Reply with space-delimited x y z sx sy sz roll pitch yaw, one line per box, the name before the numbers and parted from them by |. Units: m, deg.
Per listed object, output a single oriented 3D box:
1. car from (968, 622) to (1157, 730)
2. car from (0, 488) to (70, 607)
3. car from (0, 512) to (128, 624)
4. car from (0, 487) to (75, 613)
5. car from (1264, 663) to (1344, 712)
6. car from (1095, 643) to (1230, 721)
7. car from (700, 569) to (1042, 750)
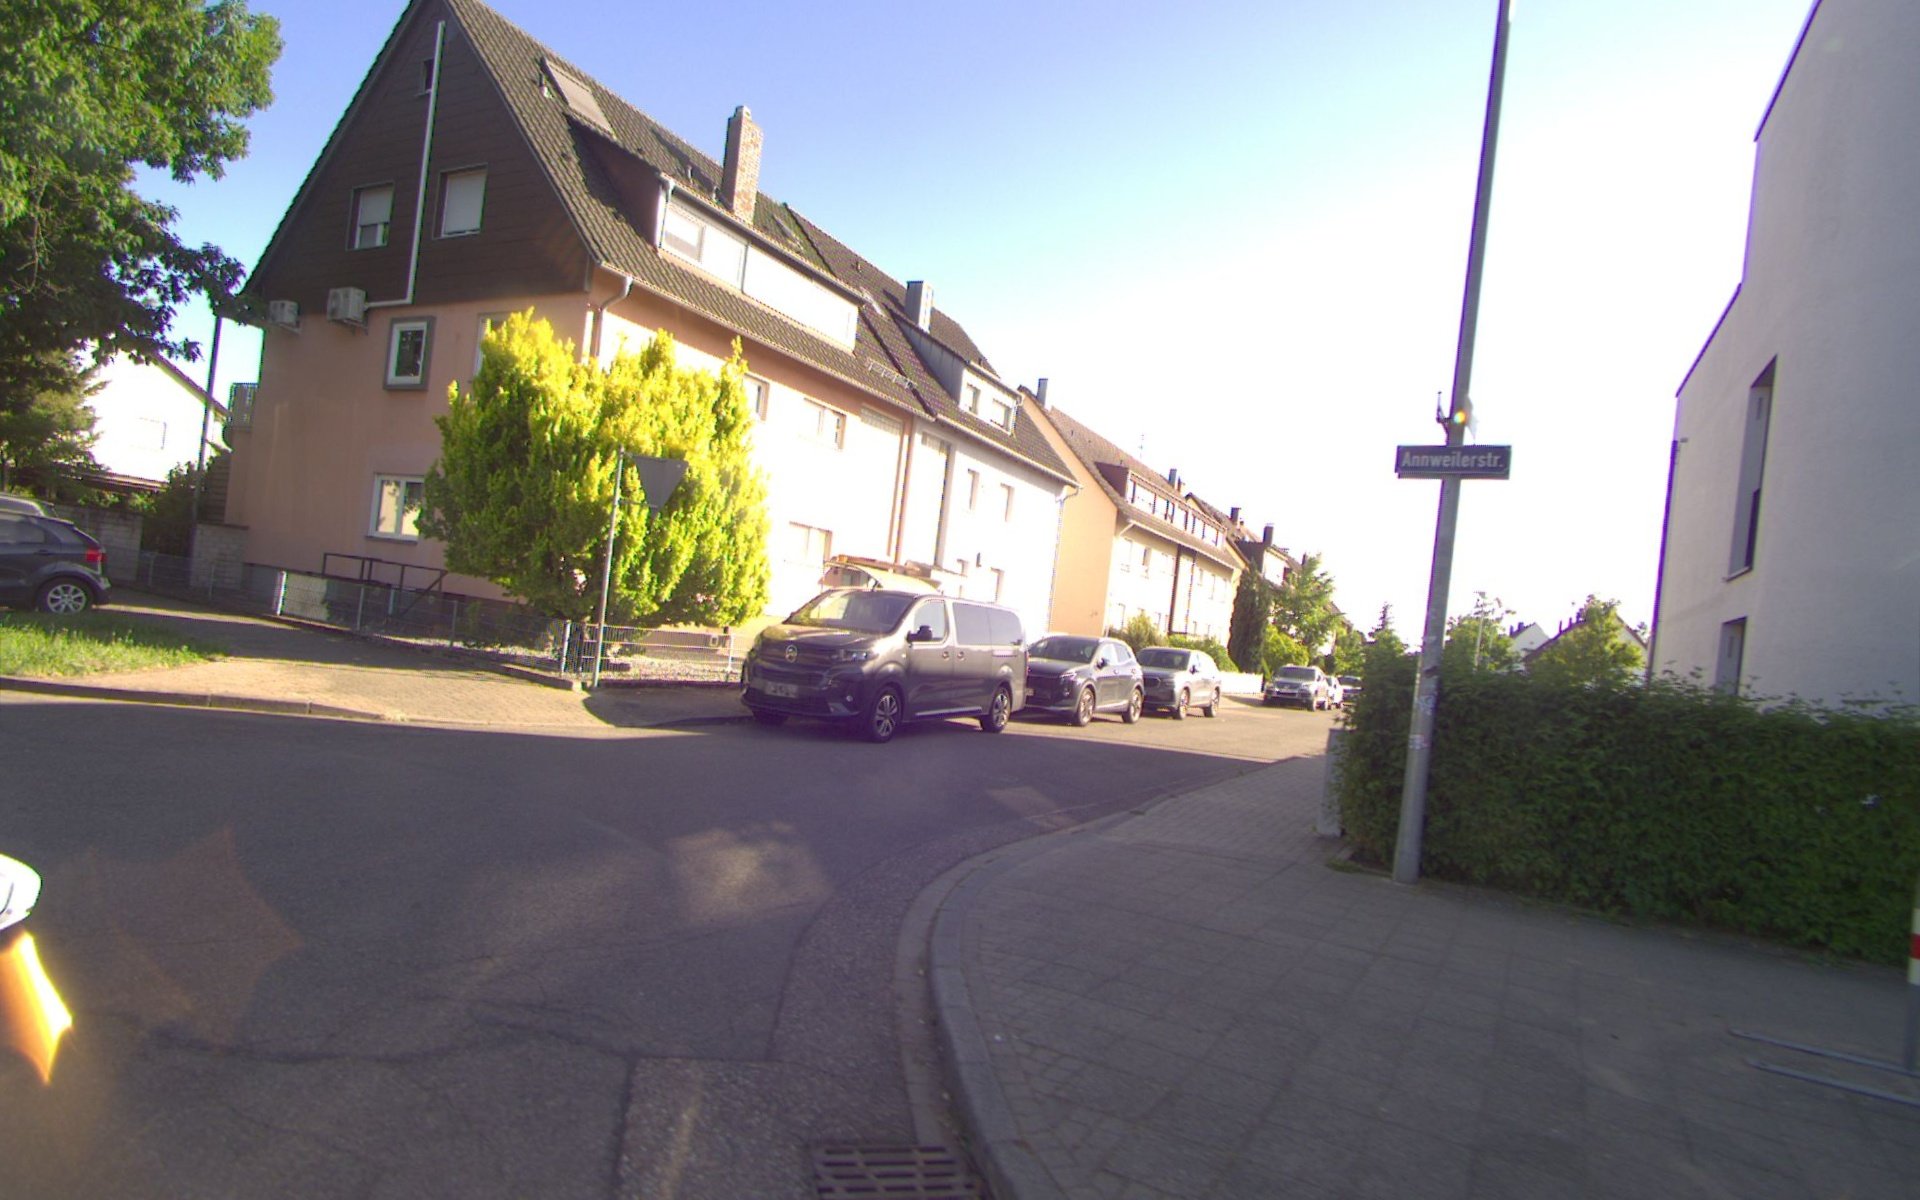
car | 2.077 1.455 19.127 1.848 1.682 4.320 4 -3 30
car | -18.196 -1.174 16.239 1.966 1.968 5.270 6 -2 30
car | -13.745 -0.595 13.130 1.815 1.385 3.994 6 -2 30
car | -15.912 -0.973 14.241 1.793 1.831 4.641 6 -1 30
car | 13.788 3.477 40.140 1.967 1.659 5.039 4 -3 30
car | 5.078 2.015 24.691 1.801 1.599 4.405 4 -3 31
car | -0.904 0.835 13.779 2.036 1.869 5.252 5 -2 28
